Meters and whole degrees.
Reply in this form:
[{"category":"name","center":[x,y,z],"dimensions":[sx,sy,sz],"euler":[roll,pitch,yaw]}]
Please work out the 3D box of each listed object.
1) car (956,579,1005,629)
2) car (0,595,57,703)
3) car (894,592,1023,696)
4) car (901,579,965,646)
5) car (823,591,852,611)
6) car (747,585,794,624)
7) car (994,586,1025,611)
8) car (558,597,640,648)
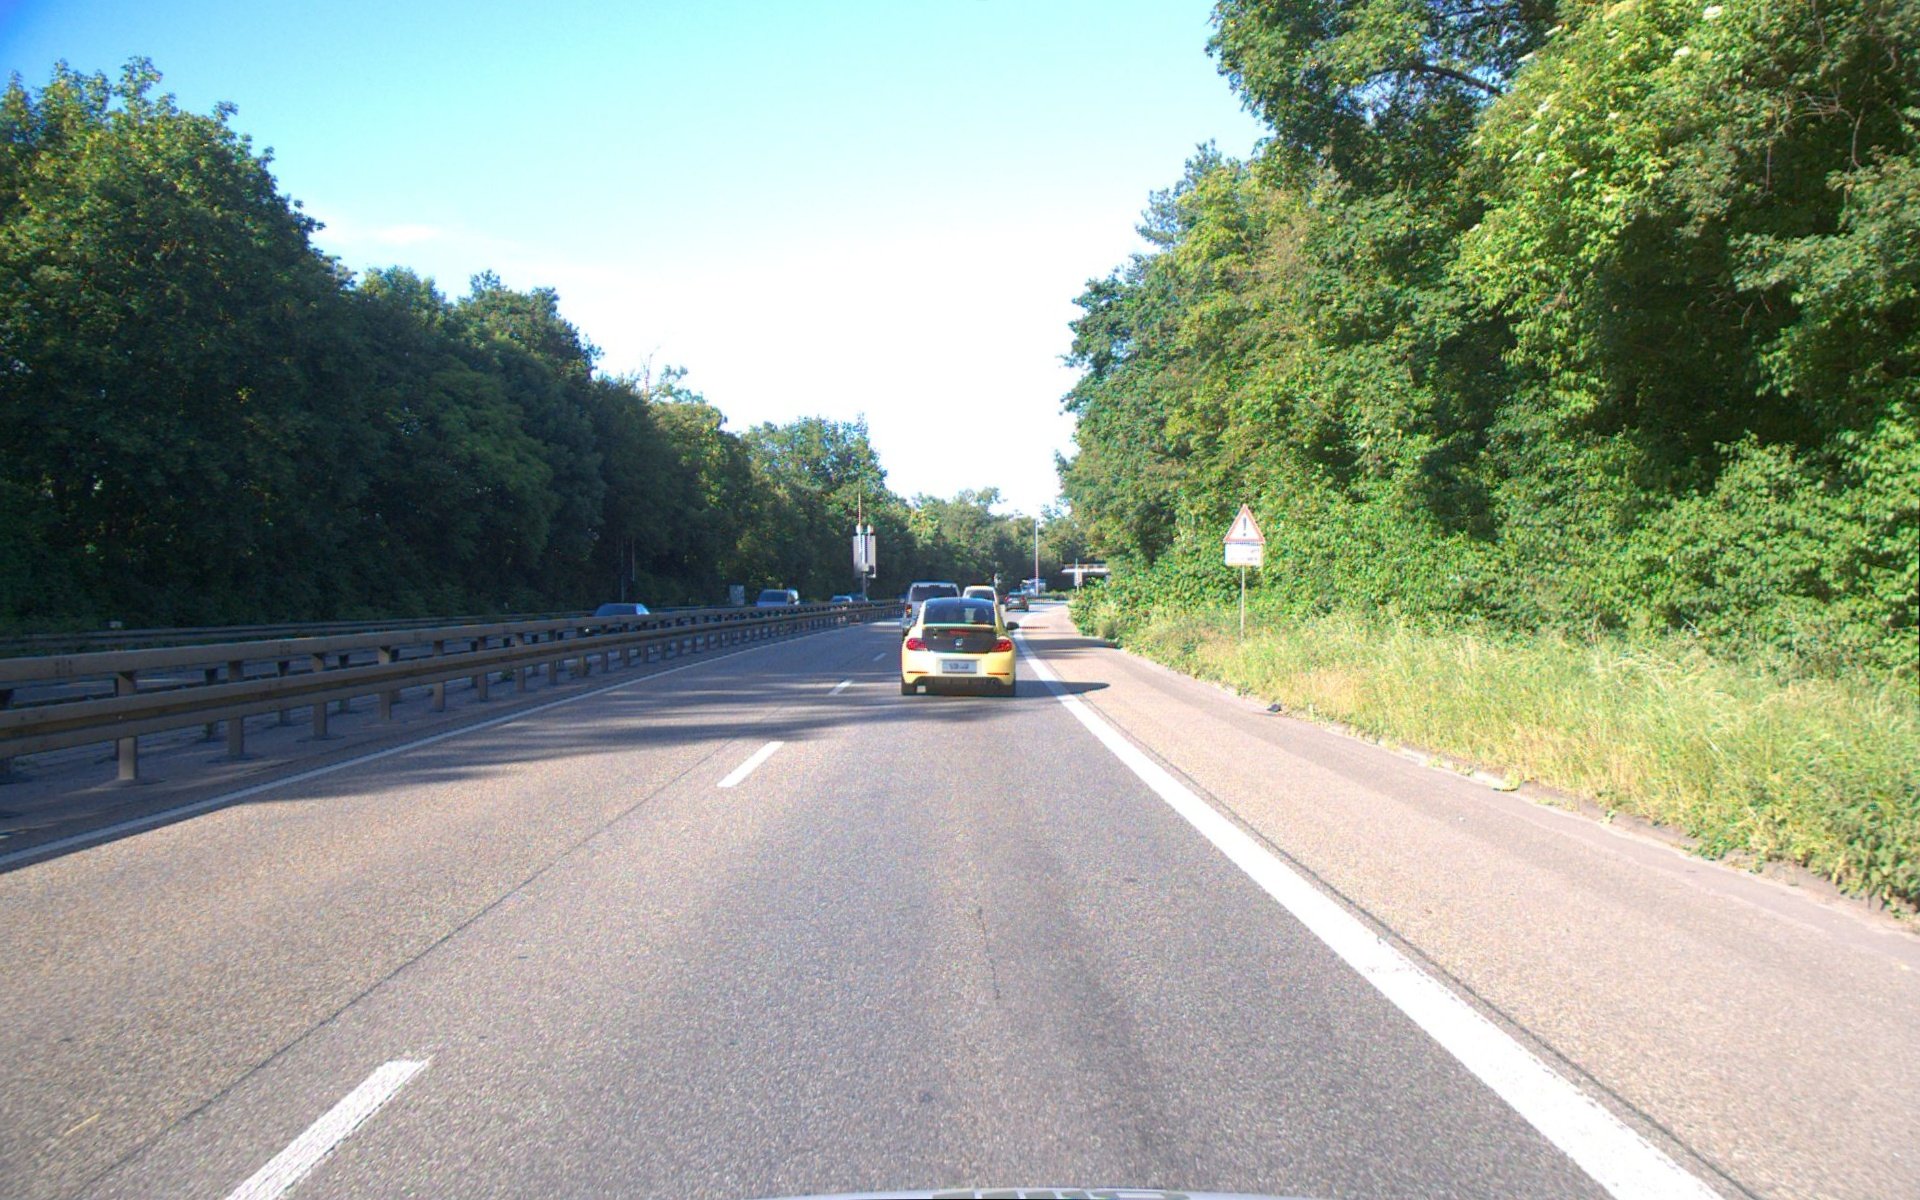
[{"category":"car","center":[0.872,0.137,72.256],"dimensions":[1.953,2.049,3.999],"euler":[-2,0,-1]},{"category":"car","center":[-15.416,0.779,24.441],"dimensions":[1.953,1.612,3.999],"euler":[-2,0,-2]},{"category":"car","center":[-0.037,0.639,26.052],"dimensions":[1.899,1.534,3.422],"euler":[0,0,-1]},{"category":"car","center":[-0.754,0.336,48.031],"dimensions":[1.705,1.862,3.423],"euler":[1,0,1]},{"category":"car","center":[-8.683,0.081,117.496],"dimensions":[1.564,1.337,3.911],"euler":[-2,0,3]},{"category":"car","center":[-10.197,0.222,89.316],"dimensions":[1.849,1.936,5.415],"euler":[-2,0,0]},{"category":"car","center":[3.951,-0.151,131.789],"dimensions":[2.215,1.908,5.079],"euler":[1,1,4]},{"category":"car","center":[-11.535,0.679,53.130],"dimensions":[1.564,1.478,4.346],"euler":[-2,0,1]}]
